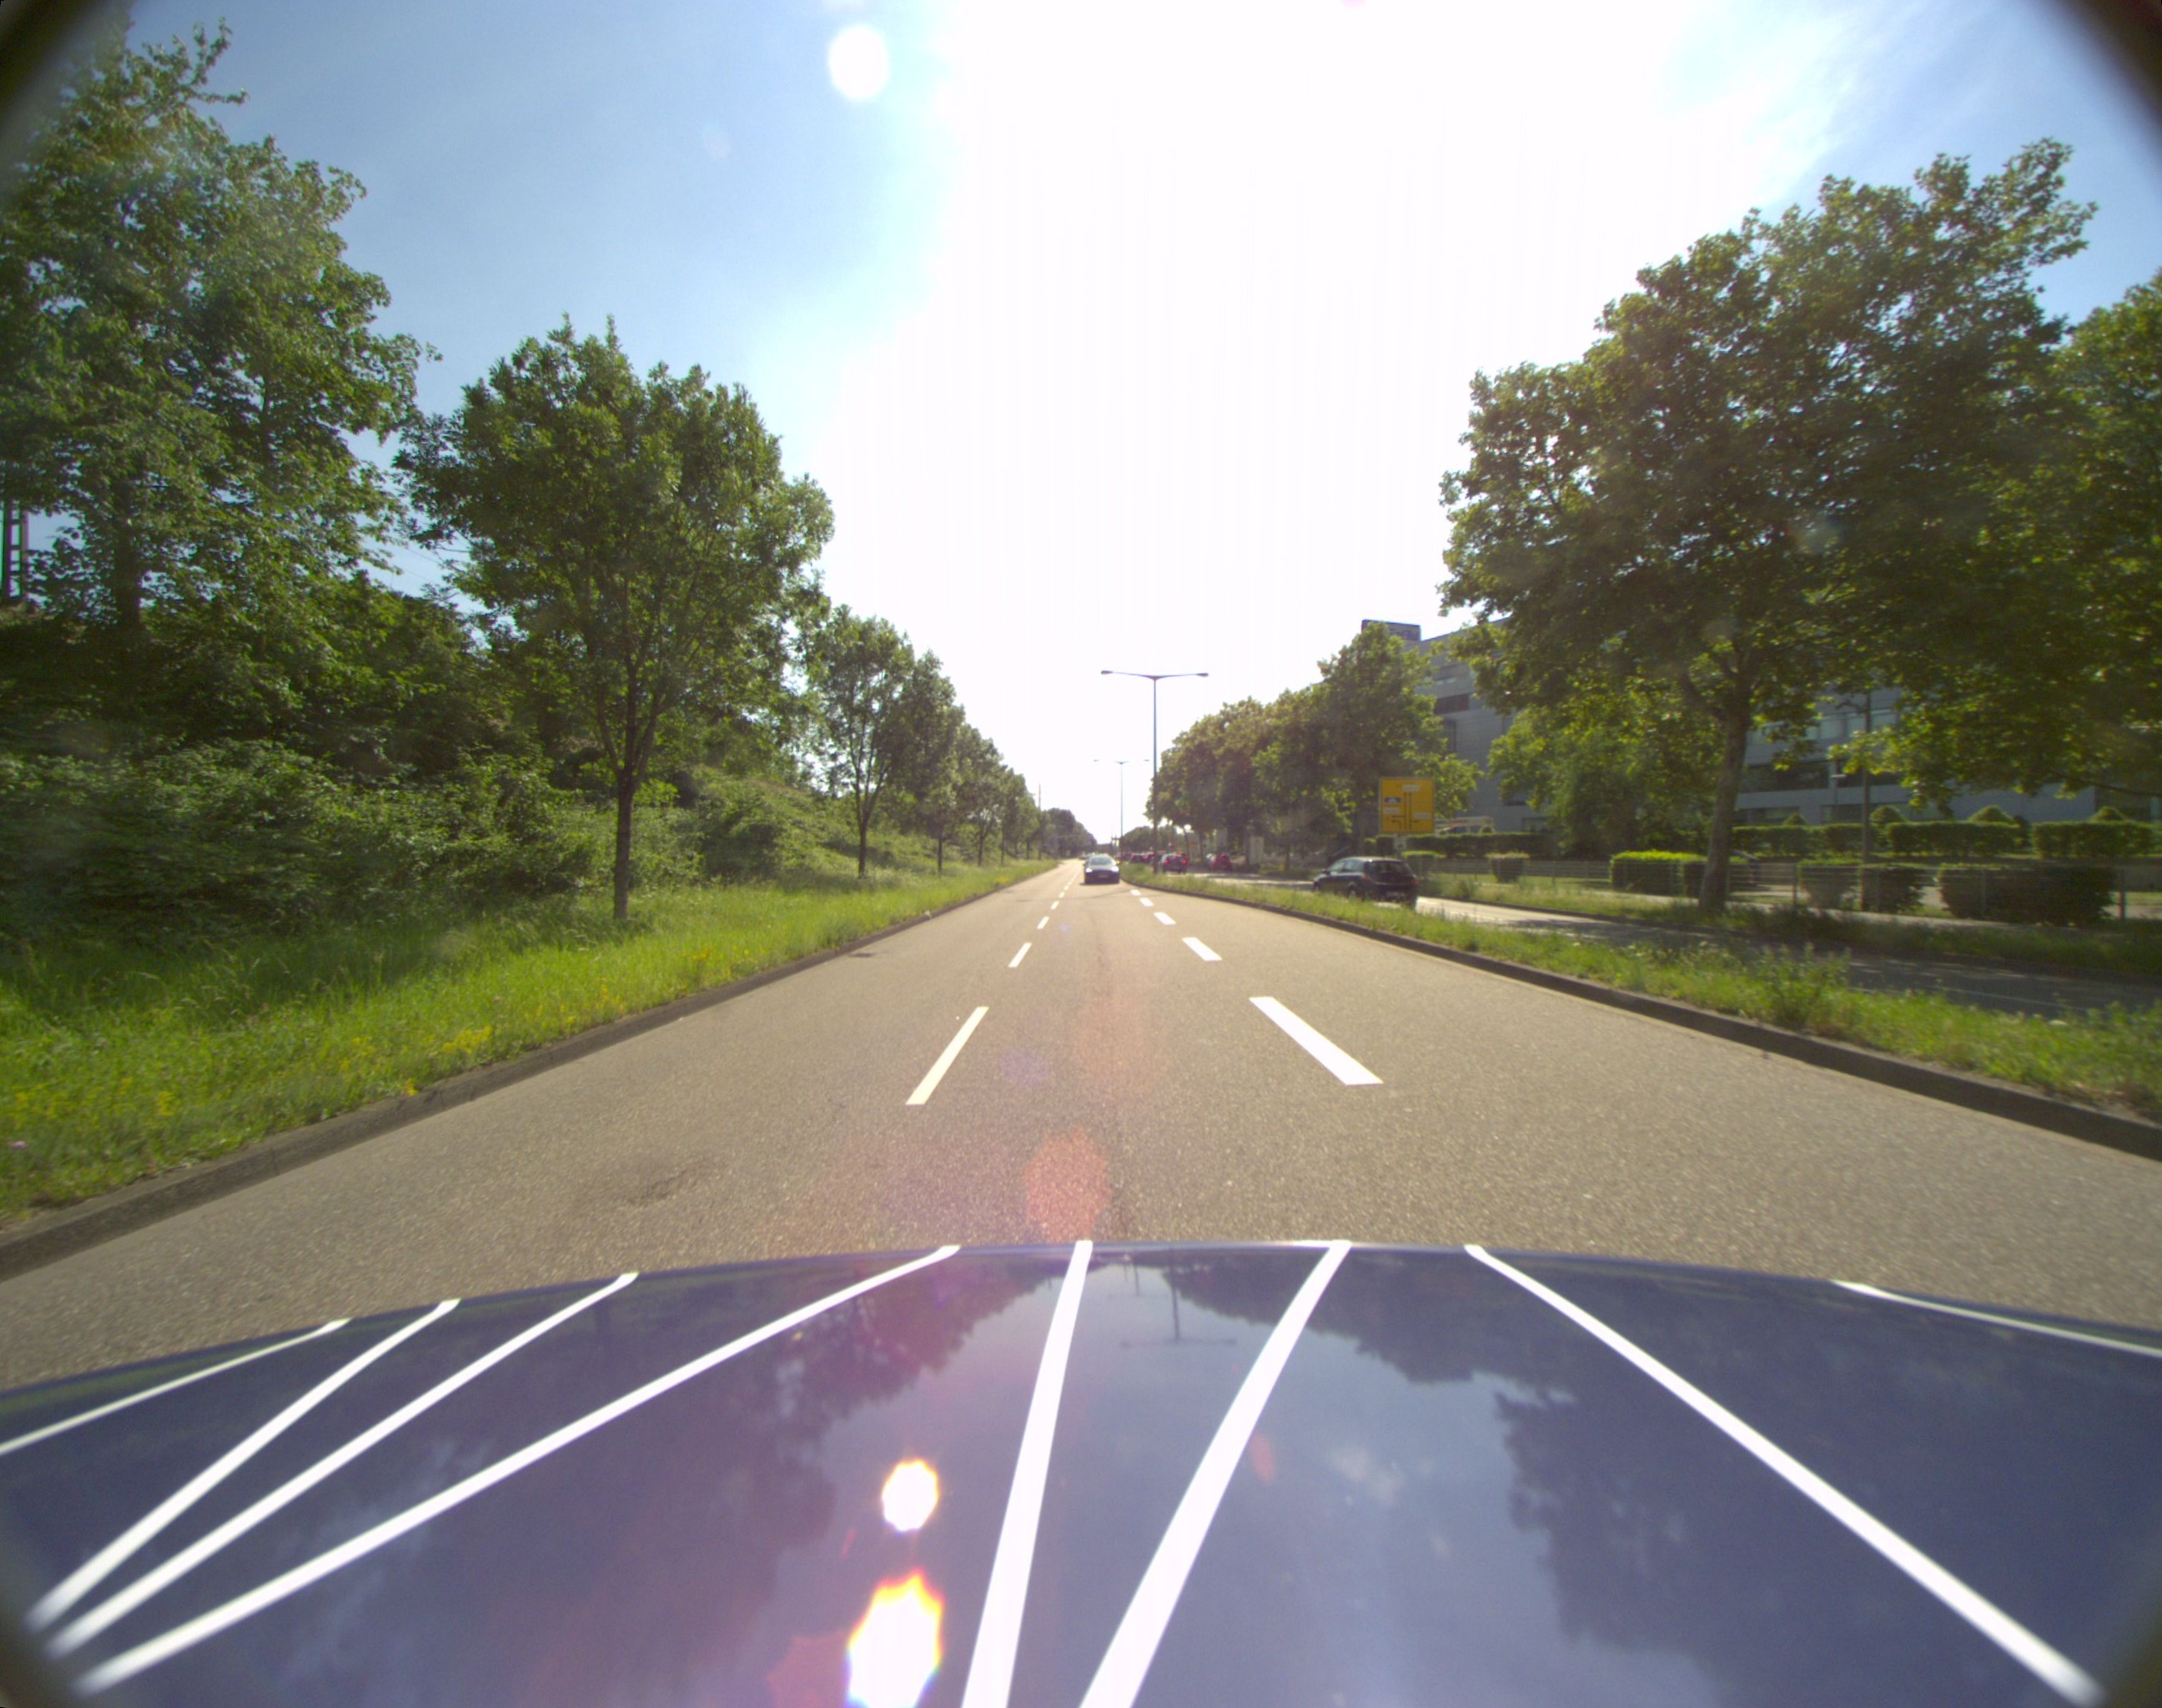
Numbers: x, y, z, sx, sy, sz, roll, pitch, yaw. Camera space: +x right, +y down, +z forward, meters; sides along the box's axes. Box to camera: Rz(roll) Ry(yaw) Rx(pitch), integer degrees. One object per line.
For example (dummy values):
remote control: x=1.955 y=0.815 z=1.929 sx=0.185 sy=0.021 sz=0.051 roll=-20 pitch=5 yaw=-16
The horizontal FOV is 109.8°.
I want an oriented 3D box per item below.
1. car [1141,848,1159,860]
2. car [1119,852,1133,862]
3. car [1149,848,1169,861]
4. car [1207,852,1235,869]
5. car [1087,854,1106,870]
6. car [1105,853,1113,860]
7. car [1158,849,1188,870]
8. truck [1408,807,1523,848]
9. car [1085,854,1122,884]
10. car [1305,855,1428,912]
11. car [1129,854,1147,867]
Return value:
car: x=9.467 y=0.042 z=104.454 sx=1.998 sy=1.601 sz=4.496 roll=0 pitch=0 yaw=0
car: x=6.929 y=0.464 z=116.685 sx=1.812 sy=1.606 sz=4.491 roll=0 pitch=0 yaw=-1
car: x=9.481 y=0.064 z=92.373 sx=1.832 sy=1.459 sz=4.987 roll=0 pitch=0 yaw=-1
car: x=12.560 y=0.554 z=68.375 sx=1.768 sy=1.454 sz=4.000 roll=1 pitch=0 yaw=1
car: x=1.686 y=0.877 z=83.690 sx=1.998 sy=1.699 sz=4.431 roll=-1 pitch=0 yaw=0
car: x=6.810 y=0.501 z=182.900 sx=1.714 sy=1.498 sz=4.004 roll=-1 pitch=-2 yaw=6
car: x=6.850 y=0.390 z=56.903 sx=1.844 sy=1.470 sz=4.166 roll=0 pitch=0 yaw=1
truck: x=34.131 y=-2.245 z=67.906 sx=2.678 sy=3.376 sz=8.965 roll=-1 pitch=0 yaw=-36
car: x=1.164 y=0.742 z=40.512 sx=1.827 sy=1.497 sz=4.216 roll=-1 pitch=0 yaw=0
car: x=8.043 y=0.776 z=21.852 sx=1.773 sy=1.460 sz=4.282 roll=0 pitch=0 yaw=-2
car: x=6.614 y=0.729 z=87.866 sx=1.777 sy=1.459 sz=4.671 roll=1 pitch=0 yaw=1
